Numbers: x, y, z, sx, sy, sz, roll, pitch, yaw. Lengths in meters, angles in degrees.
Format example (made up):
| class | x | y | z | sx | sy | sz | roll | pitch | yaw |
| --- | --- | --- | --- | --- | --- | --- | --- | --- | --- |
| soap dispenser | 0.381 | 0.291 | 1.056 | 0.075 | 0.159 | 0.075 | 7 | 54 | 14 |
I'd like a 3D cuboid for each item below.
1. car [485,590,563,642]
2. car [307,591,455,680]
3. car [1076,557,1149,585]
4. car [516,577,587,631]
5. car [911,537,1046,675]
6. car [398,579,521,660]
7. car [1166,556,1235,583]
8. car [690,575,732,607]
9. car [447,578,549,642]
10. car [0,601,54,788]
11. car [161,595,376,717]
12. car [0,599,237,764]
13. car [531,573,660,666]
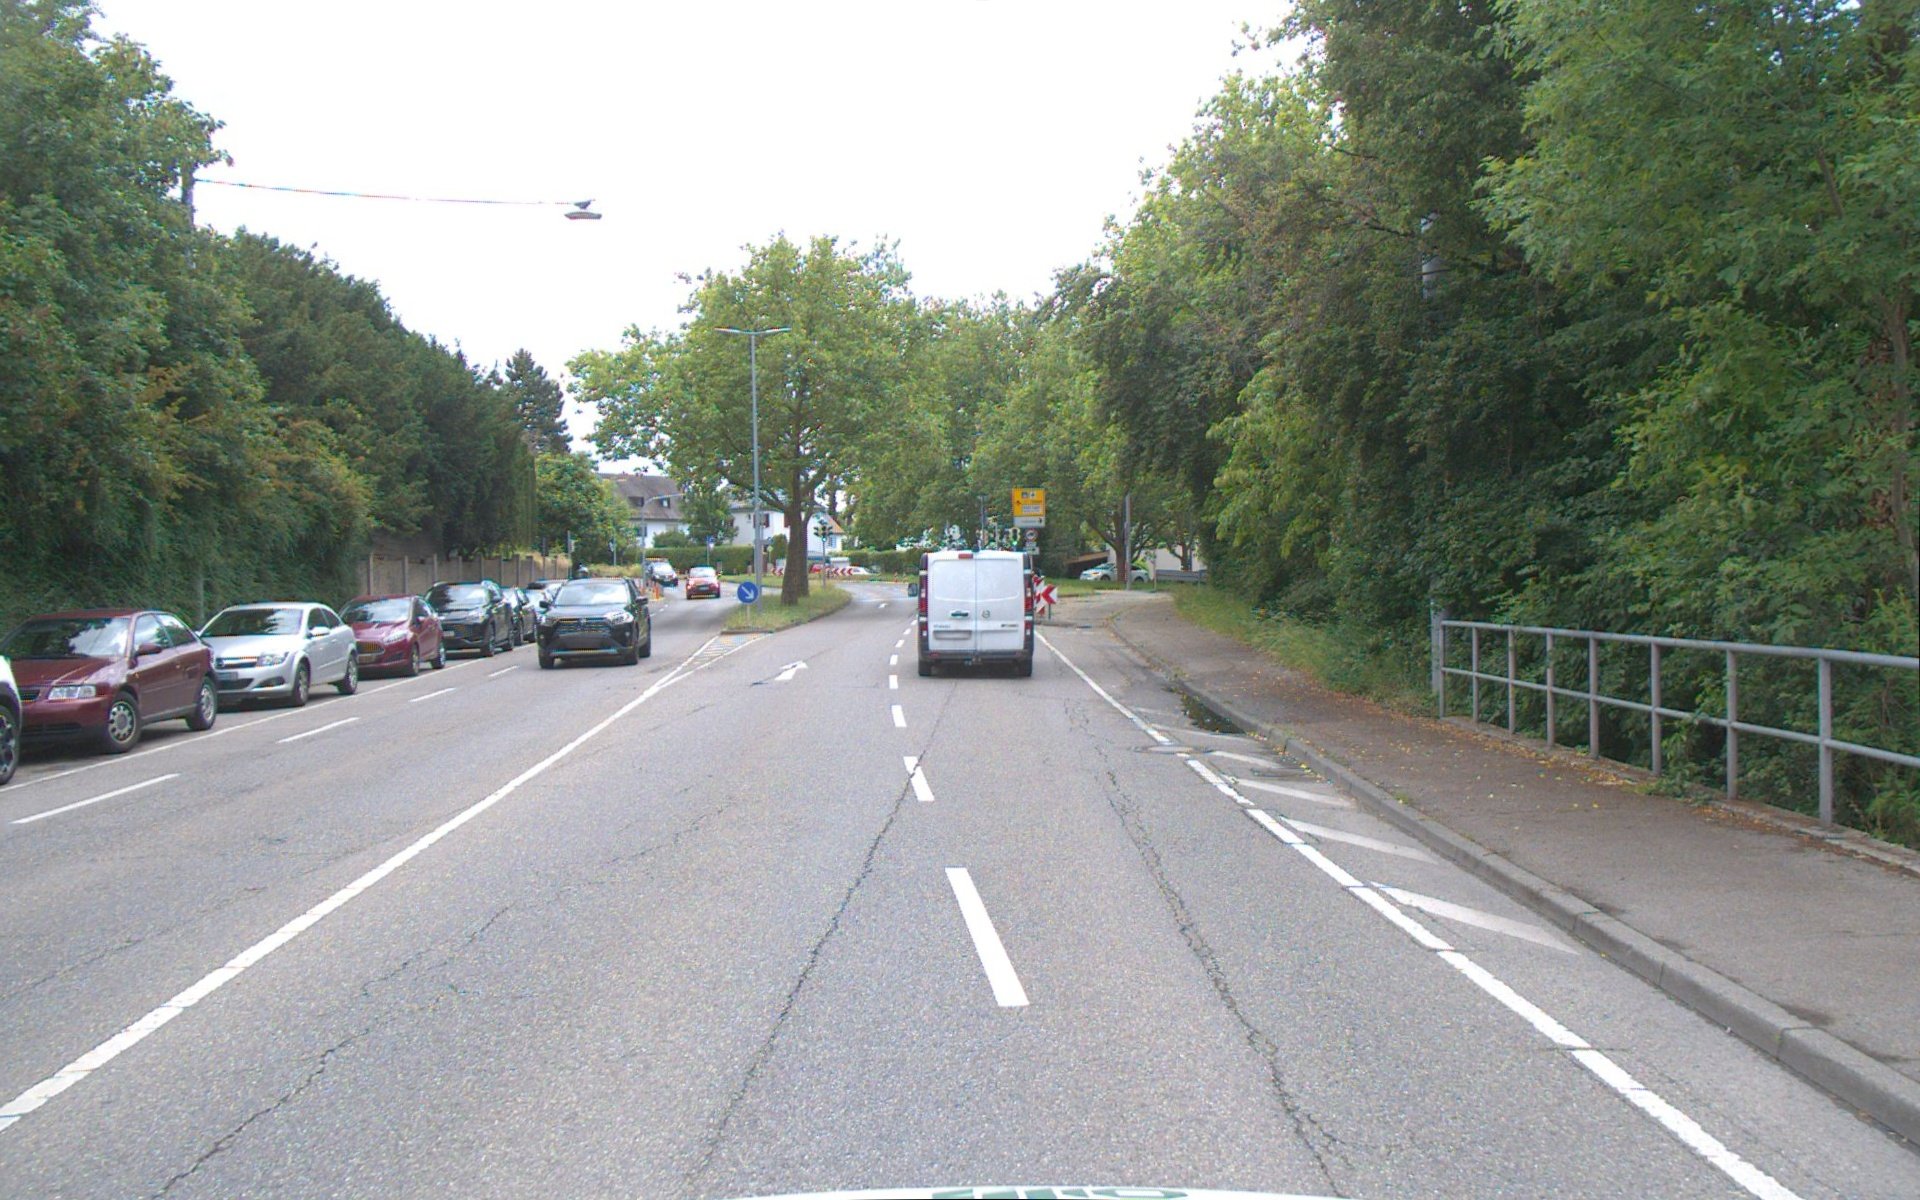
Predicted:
| class | x | y | z | sx | sy | sz | roll | pitch | yaw |
| --- | --- | --- | --- | --- | --- | --- | --- | --- | --- |
| car | -12.885 | 0.443 | 49.079 | 1.616 | 1.425 | 4.216 | -1 | 1 | -7 |
| car | -10.708 | 0.606 | 30.858 | 1.746 | 1.463 | 3.994 | -2 | 1 | -7 |
| car | 10.048 | -1.921 | 108.967 | 4.691 | 1.800 | 1.975 | -2 | 2 | -36 |
| car | -13.300 | 0.093 | 54.087 | 1.640 | 1.619 | 4.091 | -3 | 1 | -6 |
| car | 0.212 | 0.076 | 27.729 | 1.966 | 2.073 | 5.008 | 1 | 0 | -2 |
| car | -11.351 | 0.389 | 37.801 | 1.956 | 1.671 | 4.459 | -2 | 1 | -8 |
| car | 16.570 | -2.127 | 113.999 | 4.691 | 1.800 | 1.975 | -2 | 2 | -36 |
| car | -13.165 | -0.498 | 87.708 | 1.960 | 1.615 | 3.992 | -2 | 1 | -6 |
| car | -12.245 | 0.242 | 44.096 | 1.909 | 1.537 | 4.098 | -3 | 1 | -6 |
| car | -8.678 | 0.831 | 12.440 | 1.854 | 1.520 | 4.020 | -3 | 1 | -7 |
| car | -9.926 | 0.729 | 24.107 | 1.637 | 1.514 | 4.425 | -2 | 1 | -6 |
| car | -9.281 | 0.796 | 17.824 | 1.638 | 1.504 | 3.905 | -2 | 1 | -7 |
| car | -7.076 | 0.327 | 32.537 | 1.806 | 1.675 | 4.210 | -1 | 1 | -4 |
